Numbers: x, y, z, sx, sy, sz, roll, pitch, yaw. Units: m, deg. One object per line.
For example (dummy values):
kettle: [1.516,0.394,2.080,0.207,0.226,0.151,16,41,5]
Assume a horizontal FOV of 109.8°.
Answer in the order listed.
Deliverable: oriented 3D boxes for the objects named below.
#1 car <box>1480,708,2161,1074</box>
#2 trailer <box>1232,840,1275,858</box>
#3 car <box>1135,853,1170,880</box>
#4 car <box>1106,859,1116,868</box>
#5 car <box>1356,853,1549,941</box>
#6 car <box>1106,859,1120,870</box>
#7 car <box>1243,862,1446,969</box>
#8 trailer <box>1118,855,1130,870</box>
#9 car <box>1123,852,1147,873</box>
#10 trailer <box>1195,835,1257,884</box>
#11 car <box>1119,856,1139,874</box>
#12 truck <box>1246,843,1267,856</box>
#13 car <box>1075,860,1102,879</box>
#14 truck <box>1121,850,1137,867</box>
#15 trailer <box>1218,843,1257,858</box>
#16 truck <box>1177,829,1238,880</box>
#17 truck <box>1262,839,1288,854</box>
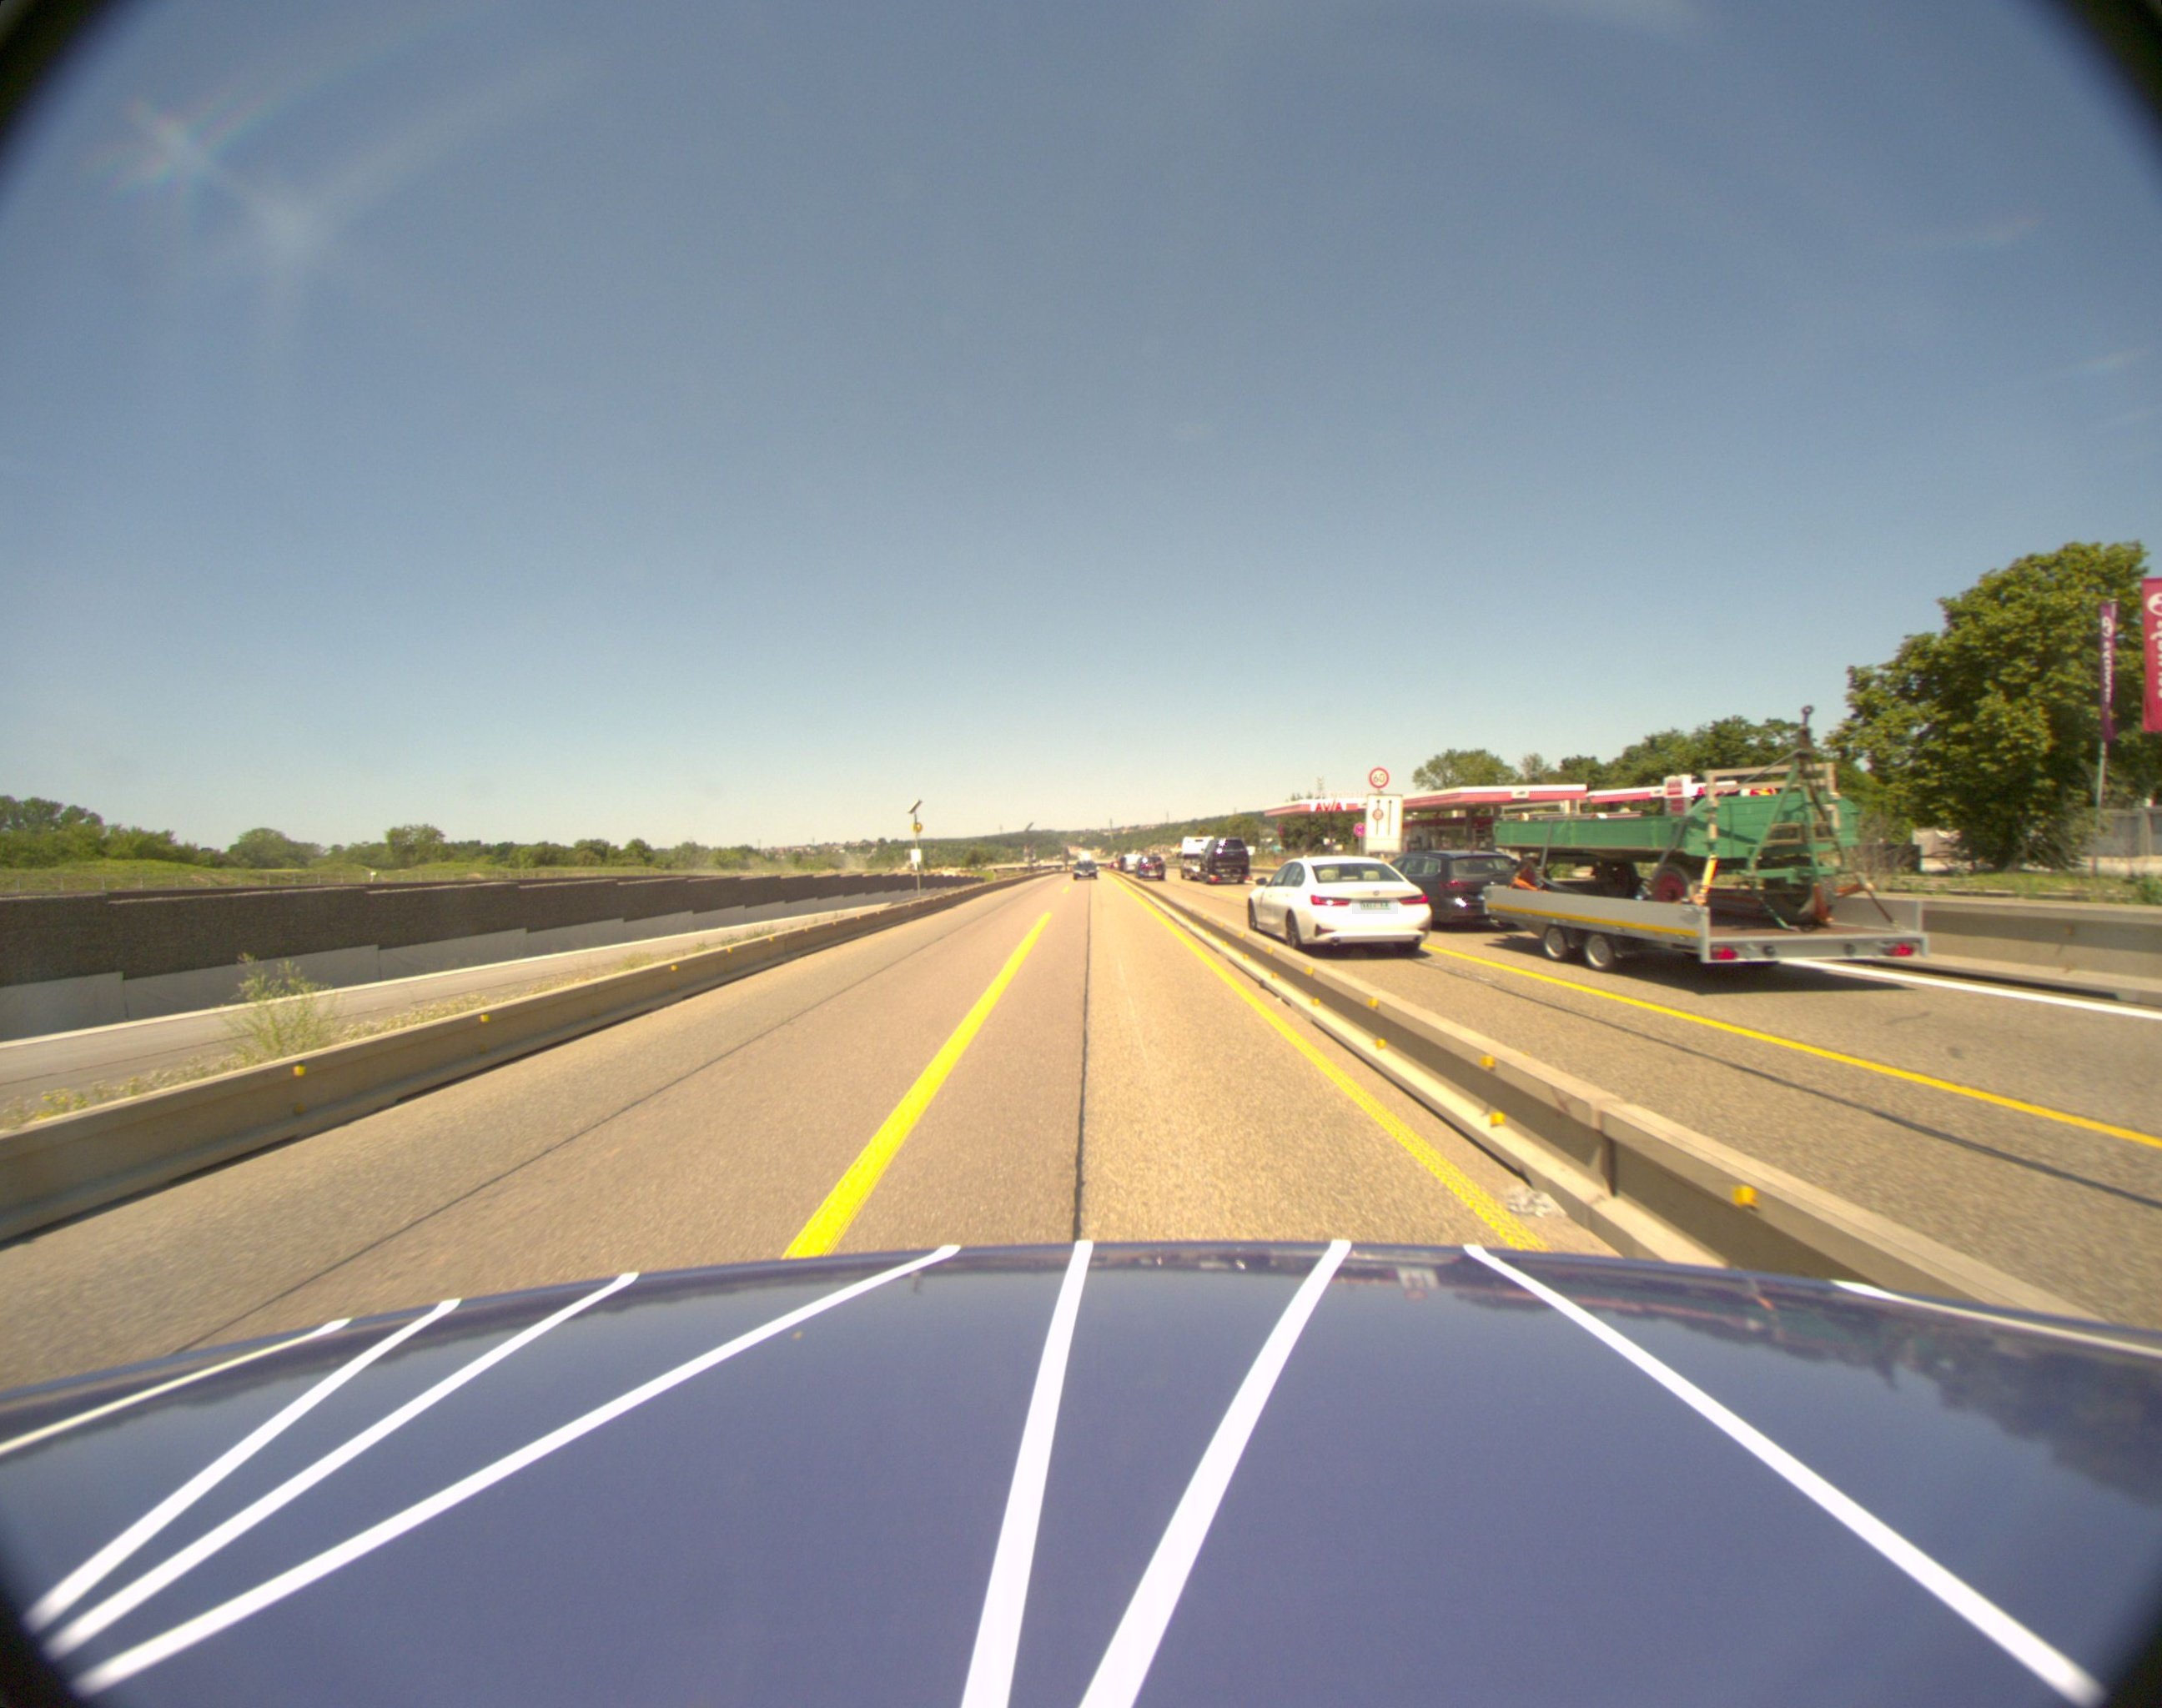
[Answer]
car: [6.968,0.242,8.220,1.919,2.385,6.452,-1,0,0]
trailer: [50.252,-1.492,221.962,2.865,4.141,12.349,-5,-1,-44]
car: [4.533,0.770,48.740,1.909,1.599,4.001,-2,-1,1]
car: [5.895,1.896,150.122,1.943,1.601,4.001,-2,-1,2]
car: [7.042,0.745,14.966,1.691,1.444,4.336,-1,0,0]
car: [4.940,1.647,117.709,1.860,1.594,4.736,-2,-1,0]
car: [3.943,0.839,12.195,1.821,1.368,4.247,0,0,0]
trailer: [12.785,2.561,225.013,3.014,4.173,13.854,-2,-1,2]
car: [4.871,0.772,69.124,1.858,1.828,4.591,-2,-1,0]
trailer: [7.471,0.293,39.763,2.187,2.301,5.614,-2,0,1]
car: [5.285,1.236,84.671,1.912,1.794,5.082,-2,-1,0]
truck: [55.909,-1.453,241.975,5.724,3.596,2.585,-6,-1,42]
car: [0.560,1.097,55.139,1.810,1.299,4.001,-1,-1,2]
truck: [8.525,0.831,135.264,2.245,2.769,6.493,-2,-1,0]
trailer: [50.818,-1.033,246.974,2.625,3.762,12.722,-5,-1,-45]
truck: [7.607,0.040,46.655,2.486,2.807,8.129,-2,0,1]
truck: [55.315,-2.192,216.763,2.838,3.727,6.132,-5,-1,-44]
